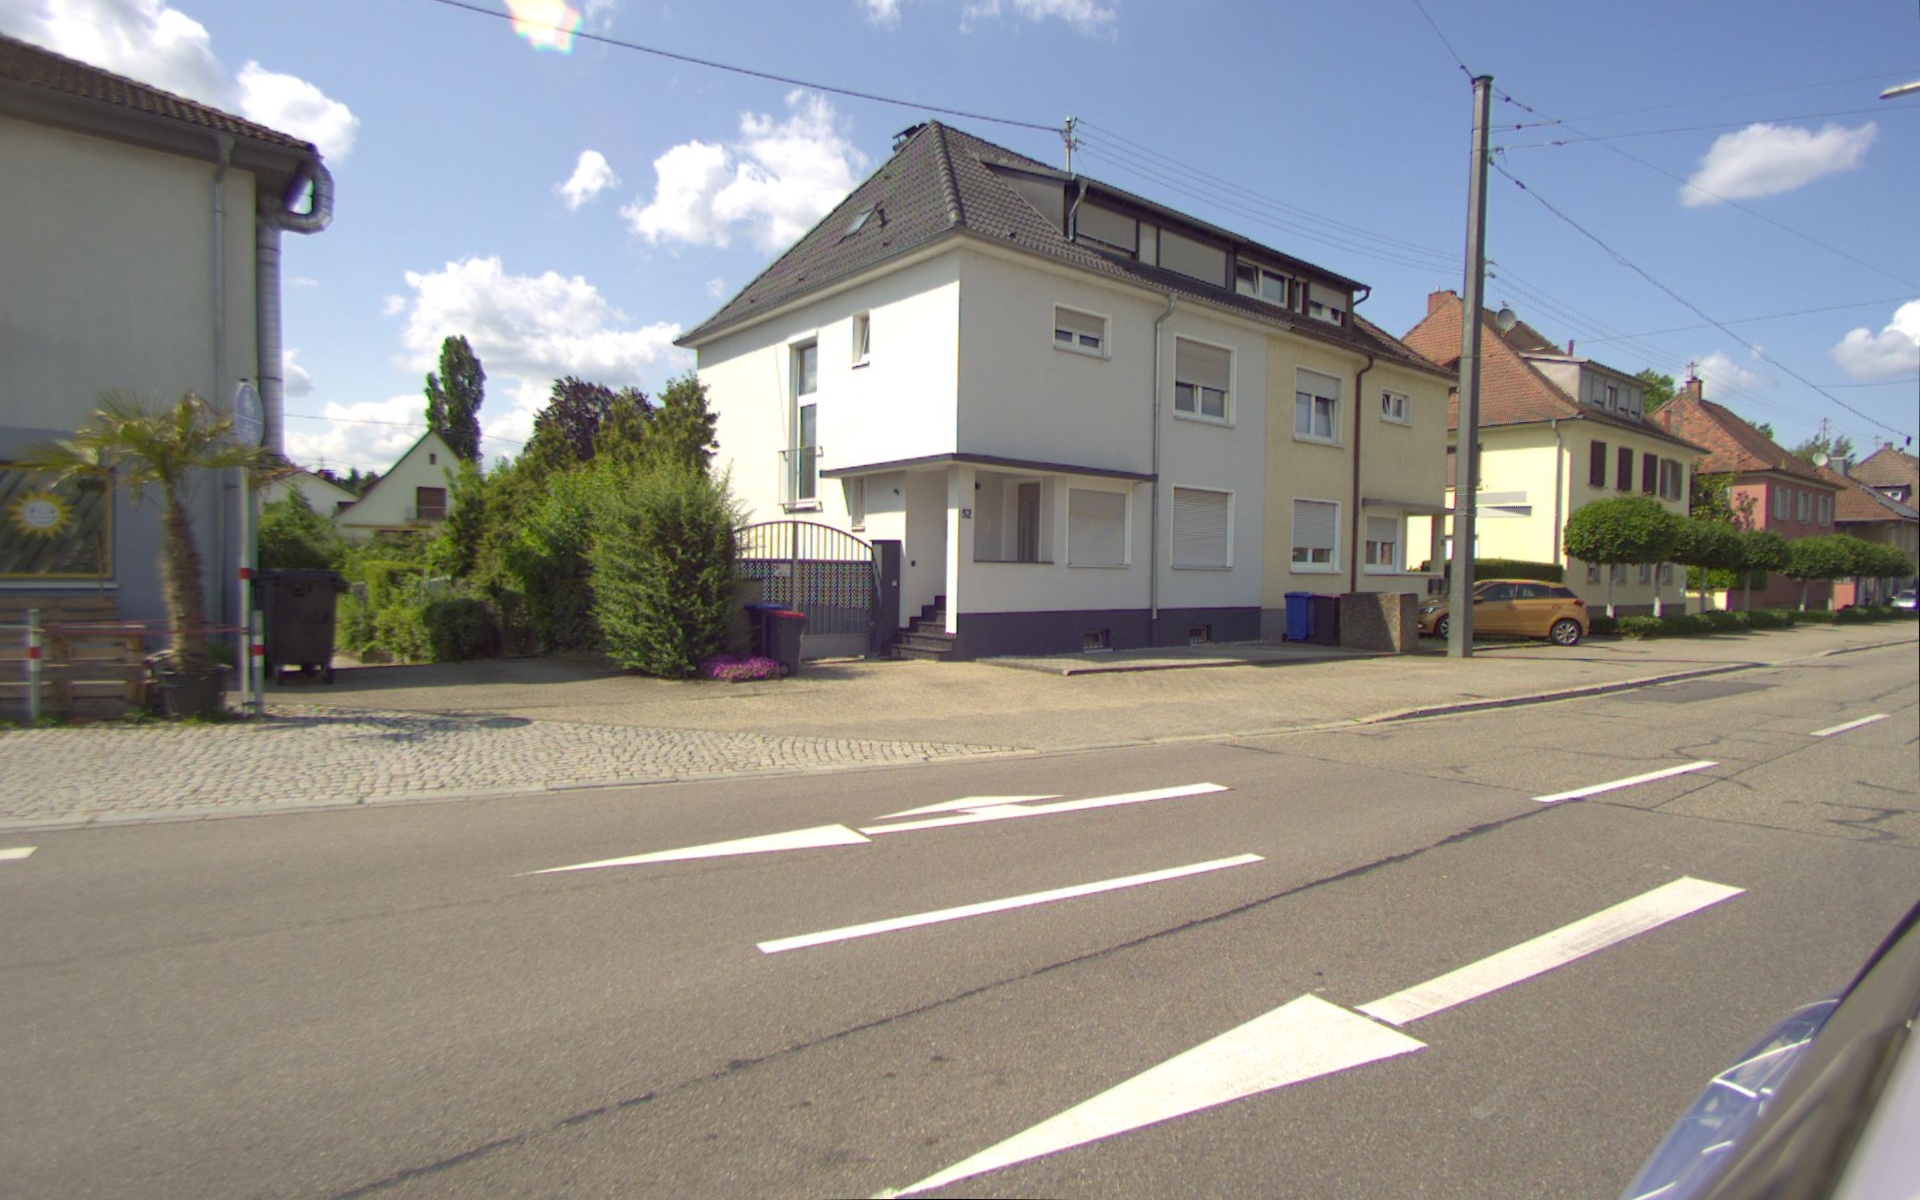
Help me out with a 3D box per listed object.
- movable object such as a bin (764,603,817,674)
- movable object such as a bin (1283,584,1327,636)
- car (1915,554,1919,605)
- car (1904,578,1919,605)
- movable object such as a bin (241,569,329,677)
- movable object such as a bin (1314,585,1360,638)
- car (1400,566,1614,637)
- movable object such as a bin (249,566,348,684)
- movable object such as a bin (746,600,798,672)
[{"bbox_3d":[-2.262,0.508,13.533,0.445,0.906,0.537,1,1,45],"label":"movable object such as a bin"},{"bbox_3d":[7.221,0.193,21.179,0.648,1.069,0.646,0,1,-40],"label":"movable object such as a bin"},{"bbox_3d":[59.084,-1.260,60.181,6.126,2.967,2.158,-1,0,-35],"label":"car"},{"bbox_3d":[53.754,-0.458,55.997,4.273,1.426,1.653,-1,3,-40],"label":"car"},{"bbox_3d":[-8.860,0.283,13.324,0.869,1.349,1.210,2,0,-32],"label":"movable object such as a bin"},{"bbox_3d":[7.700,0.226,20.660,0.673,1.061,0.639,0,0,-40],"label":"movable object such as a bin"},{"bbox_3d":[12.931,0.018,24.175,4.027,1.476,1.911,2,1,10],"label":"car"},{"bbox_3d":[-8.000,0.282,12.233,0.870,1.349,1.085,2,0,-38],"label":"movable object such as a bin"},{"bbox_3d":[-2.583,0.489,13.922,0.441,0.946,0.541,1,1,45],"label":"movable object such as a bin"}]
